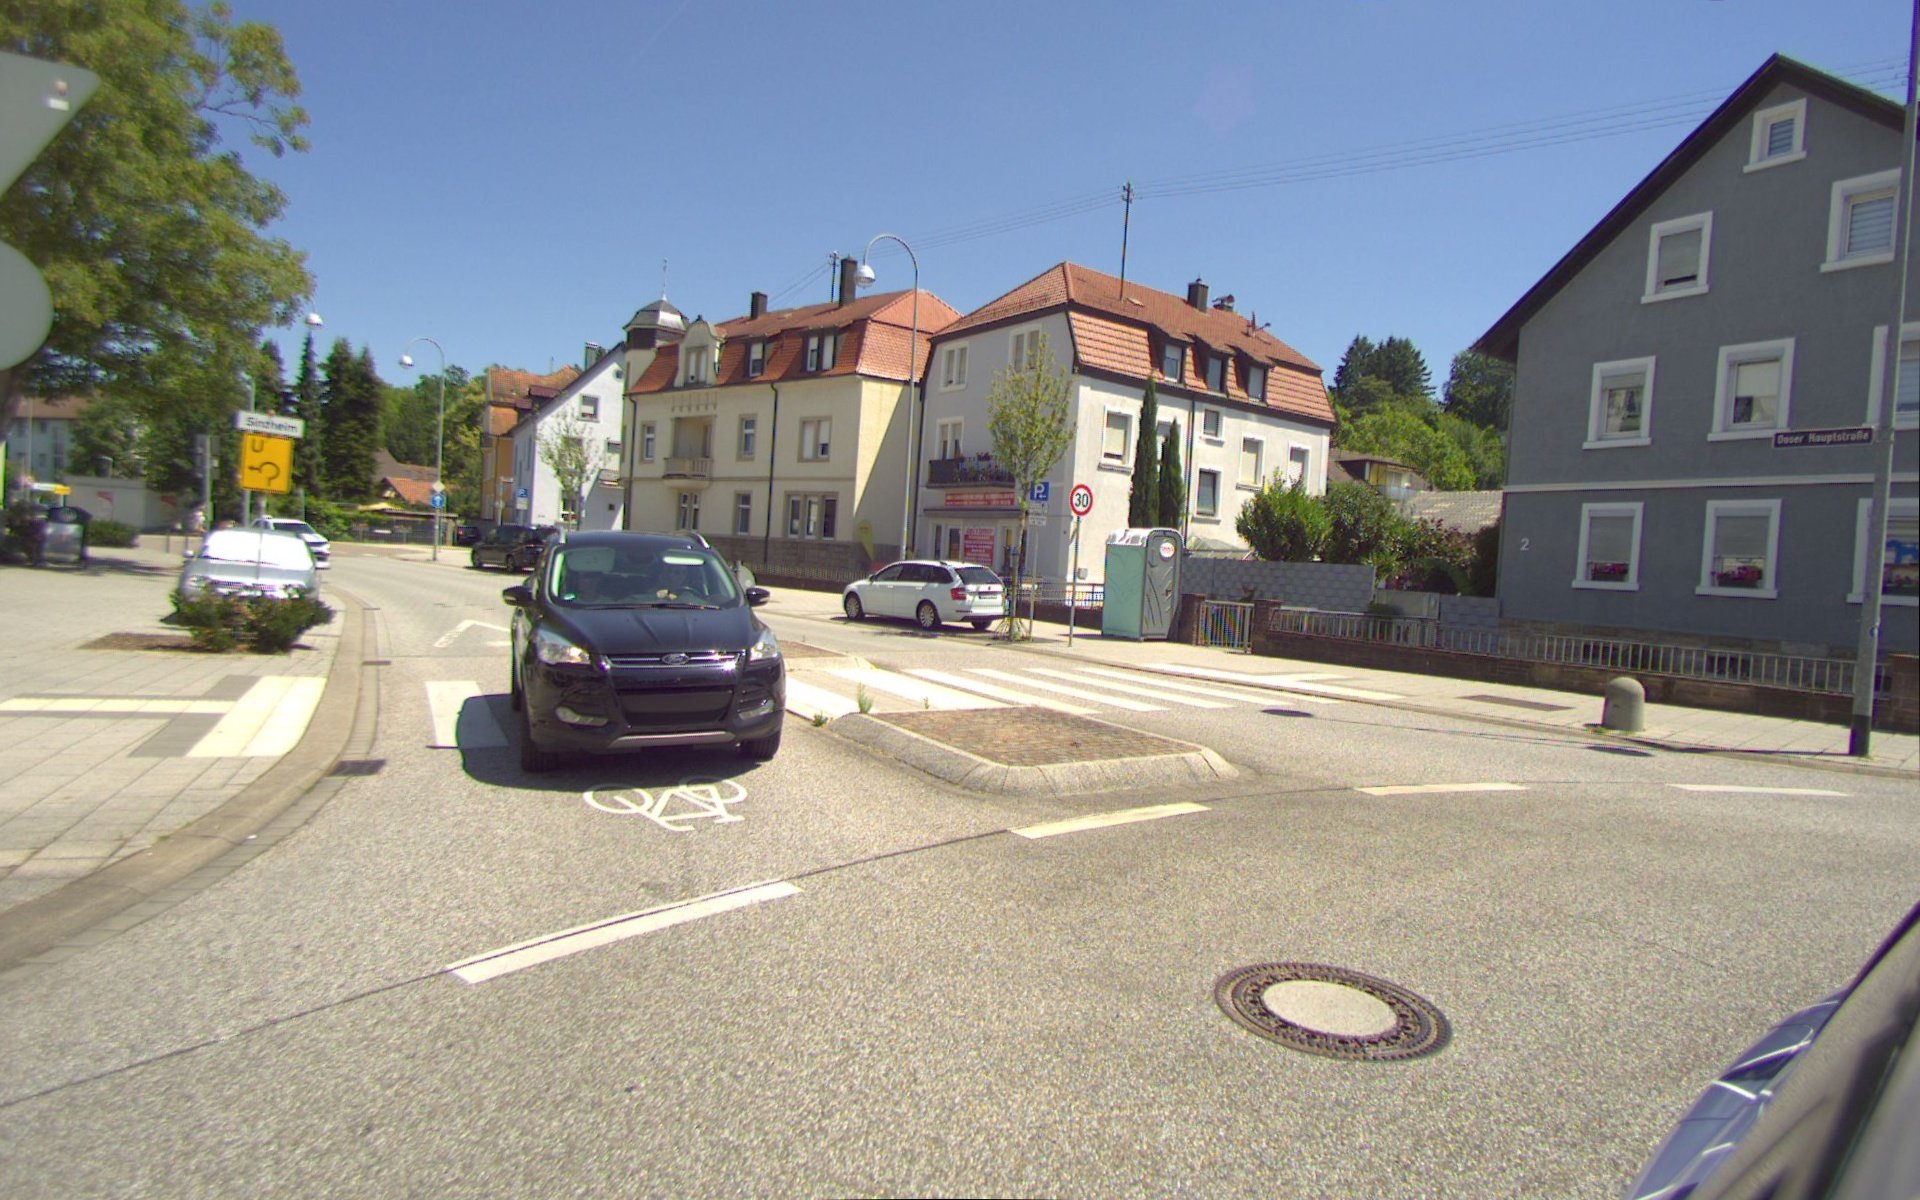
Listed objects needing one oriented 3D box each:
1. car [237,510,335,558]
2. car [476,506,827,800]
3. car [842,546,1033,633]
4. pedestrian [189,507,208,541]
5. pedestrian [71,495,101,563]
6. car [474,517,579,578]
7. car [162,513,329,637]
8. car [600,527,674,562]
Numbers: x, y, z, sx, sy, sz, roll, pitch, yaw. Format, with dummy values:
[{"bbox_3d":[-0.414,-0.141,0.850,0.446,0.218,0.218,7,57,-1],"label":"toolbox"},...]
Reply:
[{"bbox_3d":[-25.924,-2.543,38.893,3.975,1.593,1.815,5,4,35],"label":"car"},{"bbox_3d":[-2.817,0.191,8.336,1.959,1.709,4.536,1,3,-27],"label":"car"},{"bbox_3d":[-0.577,-0.332,22.480,1.967,1.603,4.281,-4,6,-41],"label":"car"},{"bbox_3d":[-42.674,-4.253,56.693,0.841,1.836,0.542,7,3,37],"label":"pedestrian"},{"bbox_3d":[-21.884,-1.780,25.338,0.649,1.648,0.400,7,3,40],"label":"pedestrian"},{"bbox_3d":[-16.790,-2.053,39.090,4.273,1.887,1.970,8,3,41],"label":"car"},{"bbox_3d":[-11.043,-0.455,15.892,1.766,1.609,4.006,4,2,-31],"label":"car"},{"bbox_3d":[-20.512,-3.510,64.324,3.934,2.038,1.996,0,3,-45],"label":"car"}]
